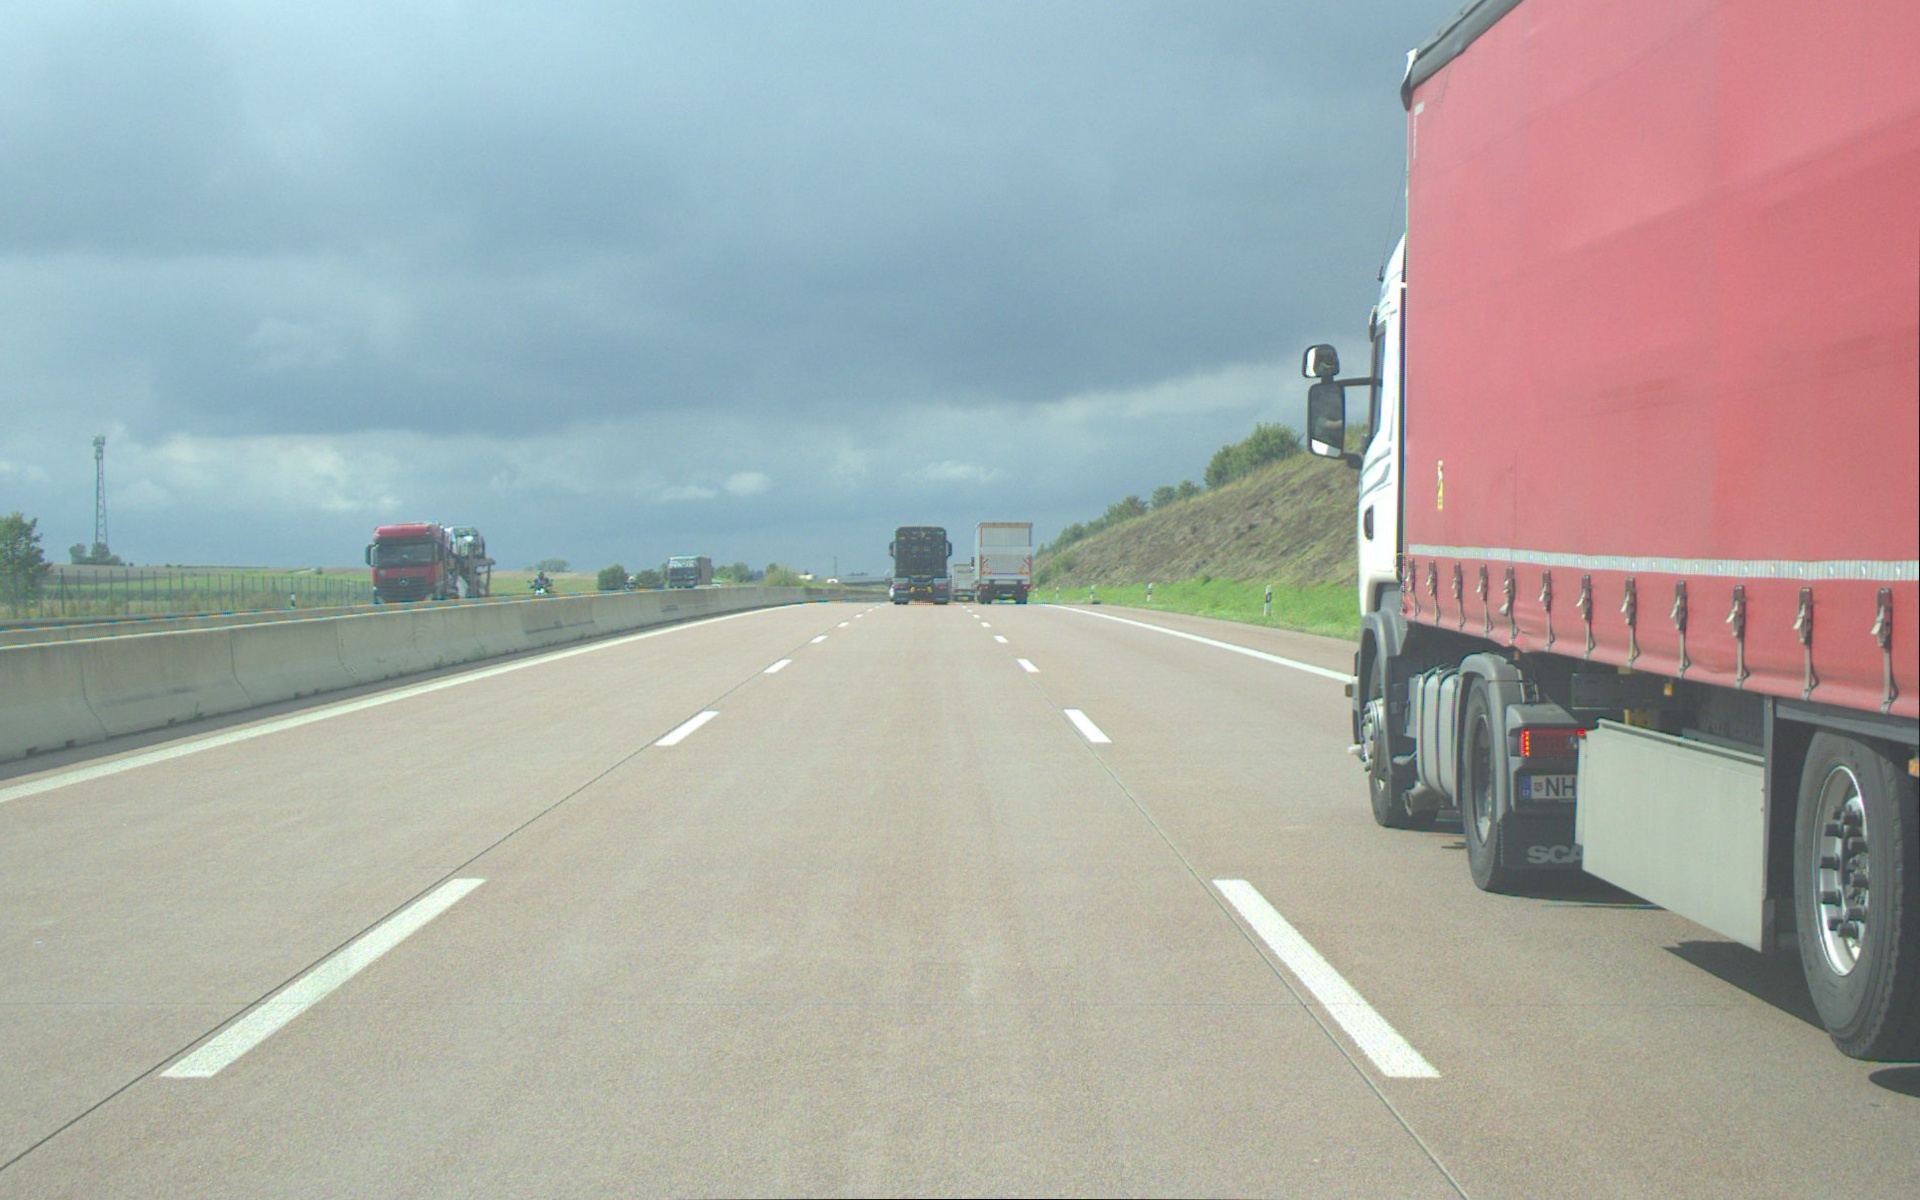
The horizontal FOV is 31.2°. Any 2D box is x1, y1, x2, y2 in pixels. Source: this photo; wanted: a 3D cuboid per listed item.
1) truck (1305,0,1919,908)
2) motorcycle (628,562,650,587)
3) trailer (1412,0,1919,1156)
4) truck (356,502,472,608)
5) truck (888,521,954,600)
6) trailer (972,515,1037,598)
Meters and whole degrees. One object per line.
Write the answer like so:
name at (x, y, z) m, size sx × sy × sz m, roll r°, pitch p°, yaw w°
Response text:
truck at (3.522, -0.788, 17.772) m, size 2.674 × 4.092 × 6.616 m, roll 0°, pitch 1°, yaw -1°
motorcycle at (-17.051, -1.353, 182.618) m, size 0.926 × 1.299 × 2.342 m, roll 1°, pitch 1°, yaw 0°
trailer at (3.678, -0.680, 10.407) m, size 2.672 × 4.079 × 12.790 m, roll 0°, pitch 1°, yaw -1°
truck at (-21.182, -1.747, 133.797) m, size 3.194 × 3.964 × 7.730 m, roll 1°, pitch 1°, yaw 0°
truck at (-1.834, -1.780, 159.186) m, size 2.847 × 3.538 × 8.320 m, roll 0°, pitch 0°, yaw -2°
trailer at (2.171, -2.106, 170.363) m, size 2.747 × 3.998 × 8.671 m, roll 0°, pitch 0°, yaw -2°
